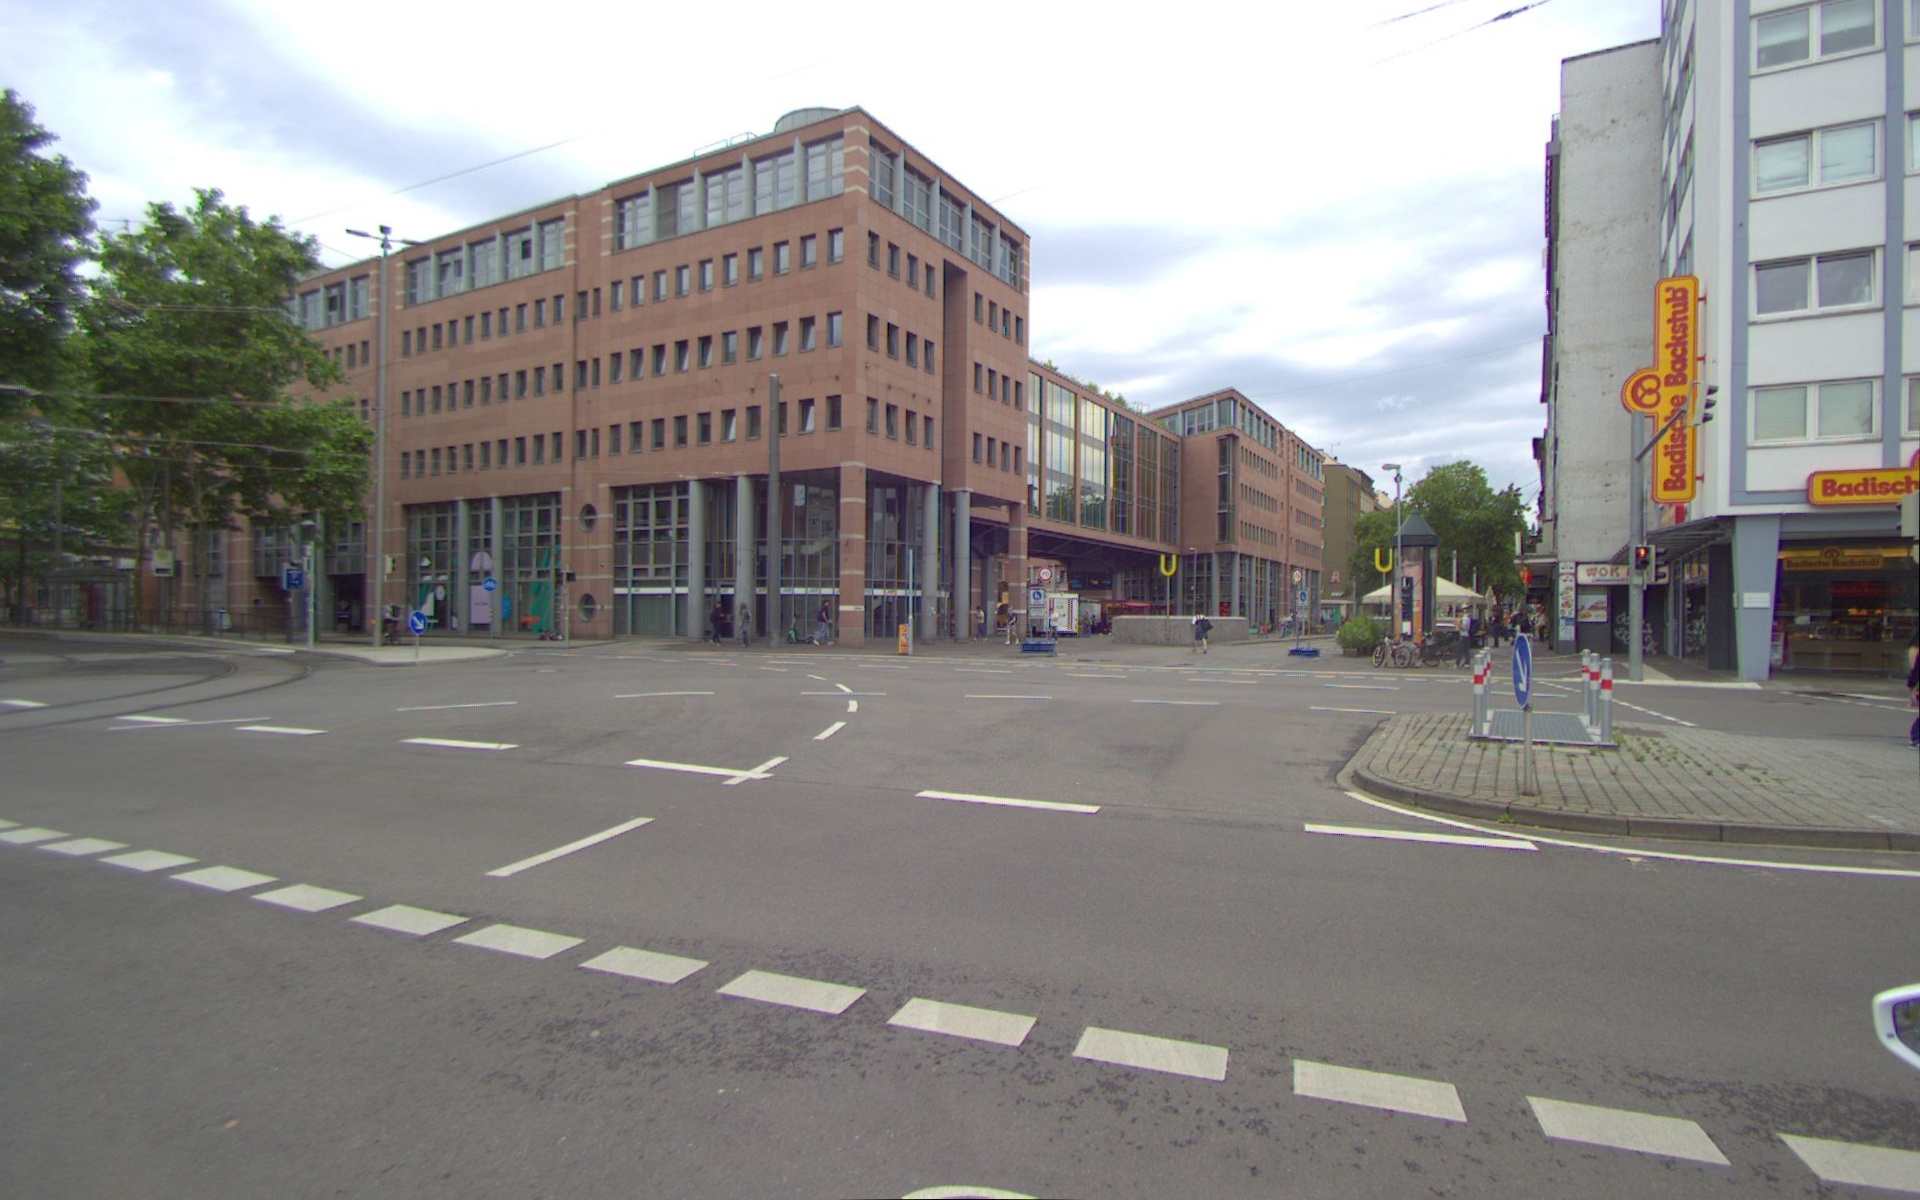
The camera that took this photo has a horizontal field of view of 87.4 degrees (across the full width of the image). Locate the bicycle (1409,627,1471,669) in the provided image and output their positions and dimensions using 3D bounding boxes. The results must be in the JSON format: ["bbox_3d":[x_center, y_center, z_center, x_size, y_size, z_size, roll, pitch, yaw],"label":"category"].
[{"bbox_3d":[14.639,1.456,30.681,1.669,1.187,0.437,1,0,24],"label":"bicycle"}]

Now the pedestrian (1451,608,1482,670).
[{"bbox_3d":[14.796,1.136,29.345,0.720,1.769,0.663,1,0,23],"label":"pedestrian"}]

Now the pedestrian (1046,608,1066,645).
[{"bbox_3d":[4.836,1.323,50.546,0.728,1.866,0.694,1,0,-40],"label":"pedestrian"}]

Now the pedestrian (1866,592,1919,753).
[{"bbox_3d":[11.522,0.856,11.997,0.701,1.856,1.016,1,0,23],"label":"pedestrian"}]

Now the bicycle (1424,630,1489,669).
[{"bbox_3d":[14.736,1.453,29.845,1.674,1.080,0.435,1,0,37],"label":"bicycle"}]

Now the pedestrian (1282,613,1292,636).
[{"bbox_3d":[22.502,1.691,69.086,0.591,1.557,0.655,1,0,23],"label":"pedestrian"}]

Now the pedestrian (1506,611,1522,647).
[{"bbox_3d":[28.677,1.474,51.996,0.726,1.846,0.661,0,-1,28],"label":"pedestrian"}]

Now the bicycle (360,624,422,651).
[{"bbox_3d":[-24.573,1.604,43.327,3.221,1.058,0.902,0,-1,32],"label":"bicycle"}]

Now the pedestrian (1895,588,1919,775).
[{"bbox_3d":[9.479,0.782,9.540,0.611,1.785,0.779,1,0,23],"label":"pedestrian"}]

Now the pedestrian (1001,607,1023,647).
[{"bbox_3d":[2.489,1.261,47.783,0.692,1.866,0.730,1,0,42],"label":"pedestrian"}]

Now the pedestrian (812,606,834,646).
[{"bbox_3d":[-5.603,1.060,41.078,0.729,1.581,0.574,2,-1,4],"label":"pedestrian"}]

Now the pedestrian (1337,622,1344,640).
[{"bbox_3d":[37.686,3.031,99.492,0.591,1.737,0.655,1,0,23],"label":"pedestrian"}]

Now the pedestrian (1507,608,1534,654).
[{"bbox_3d":[21.394,1.172,38.343,0.702,1.727,0.730,1,0,43],"label":"pedestrian"}]

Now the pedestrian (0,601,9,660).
[{"bbox_3d":[-26.081,0.798,26.896,0.565,1.581,0.742,1,-2,36],"label":"pedestrian"}]

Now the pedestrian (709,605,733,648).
[{"bbox_3d":[-9.723,1.061,40.861,0.729,1.710,0.574,2,-1,4],"label":"pedestrian"}]

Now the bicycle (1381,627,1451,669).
[{"bbox_3d":[13.784,1.433,30.397,1.836,1.187,0.531,1,0,17],"label":"bicycle"}]

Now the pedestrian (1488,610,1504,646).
[{"bbox_3d":[26.211,1.372,49.078,0.634,1.727,0.558,1,0,31],"label":"pedestrian"}]

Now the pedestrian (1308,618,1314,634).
[{"bbox_3d":[37.568,2.752,107.524,0.591,1.737,0.655,1,0,23],"label":"pedestrian"}]

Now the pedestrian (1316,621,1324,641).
[{"bbox_3d":[32.295,2.750,90.152,0.591,1.737,0.655,1,0,23],"label":"pedestrian"}]

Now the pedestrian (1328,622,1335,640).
[{"bbox_3d":[36.101,2.999,97.672,0.591,1.737,0.655,1,0,23],"label":"pedestrian"}]

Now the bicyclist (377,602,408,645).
[{"bbox_3d":[-24.482,0.999,43.304,0.862,1.836,0.835,1,0,33],"label":"bicyclist"}]

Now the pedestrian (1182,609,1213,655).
[{"bbox_3d":[9.273,1.249,39.232,0.728,1.727,0.918,1,0,-40],"label":"pedestrian"}]

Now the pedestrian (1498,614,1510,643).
[{"bbox_3d":[32.735,1.688,60.446,0.603,1.727,0.618,1,0,31],"label":"pedestrian"}]
